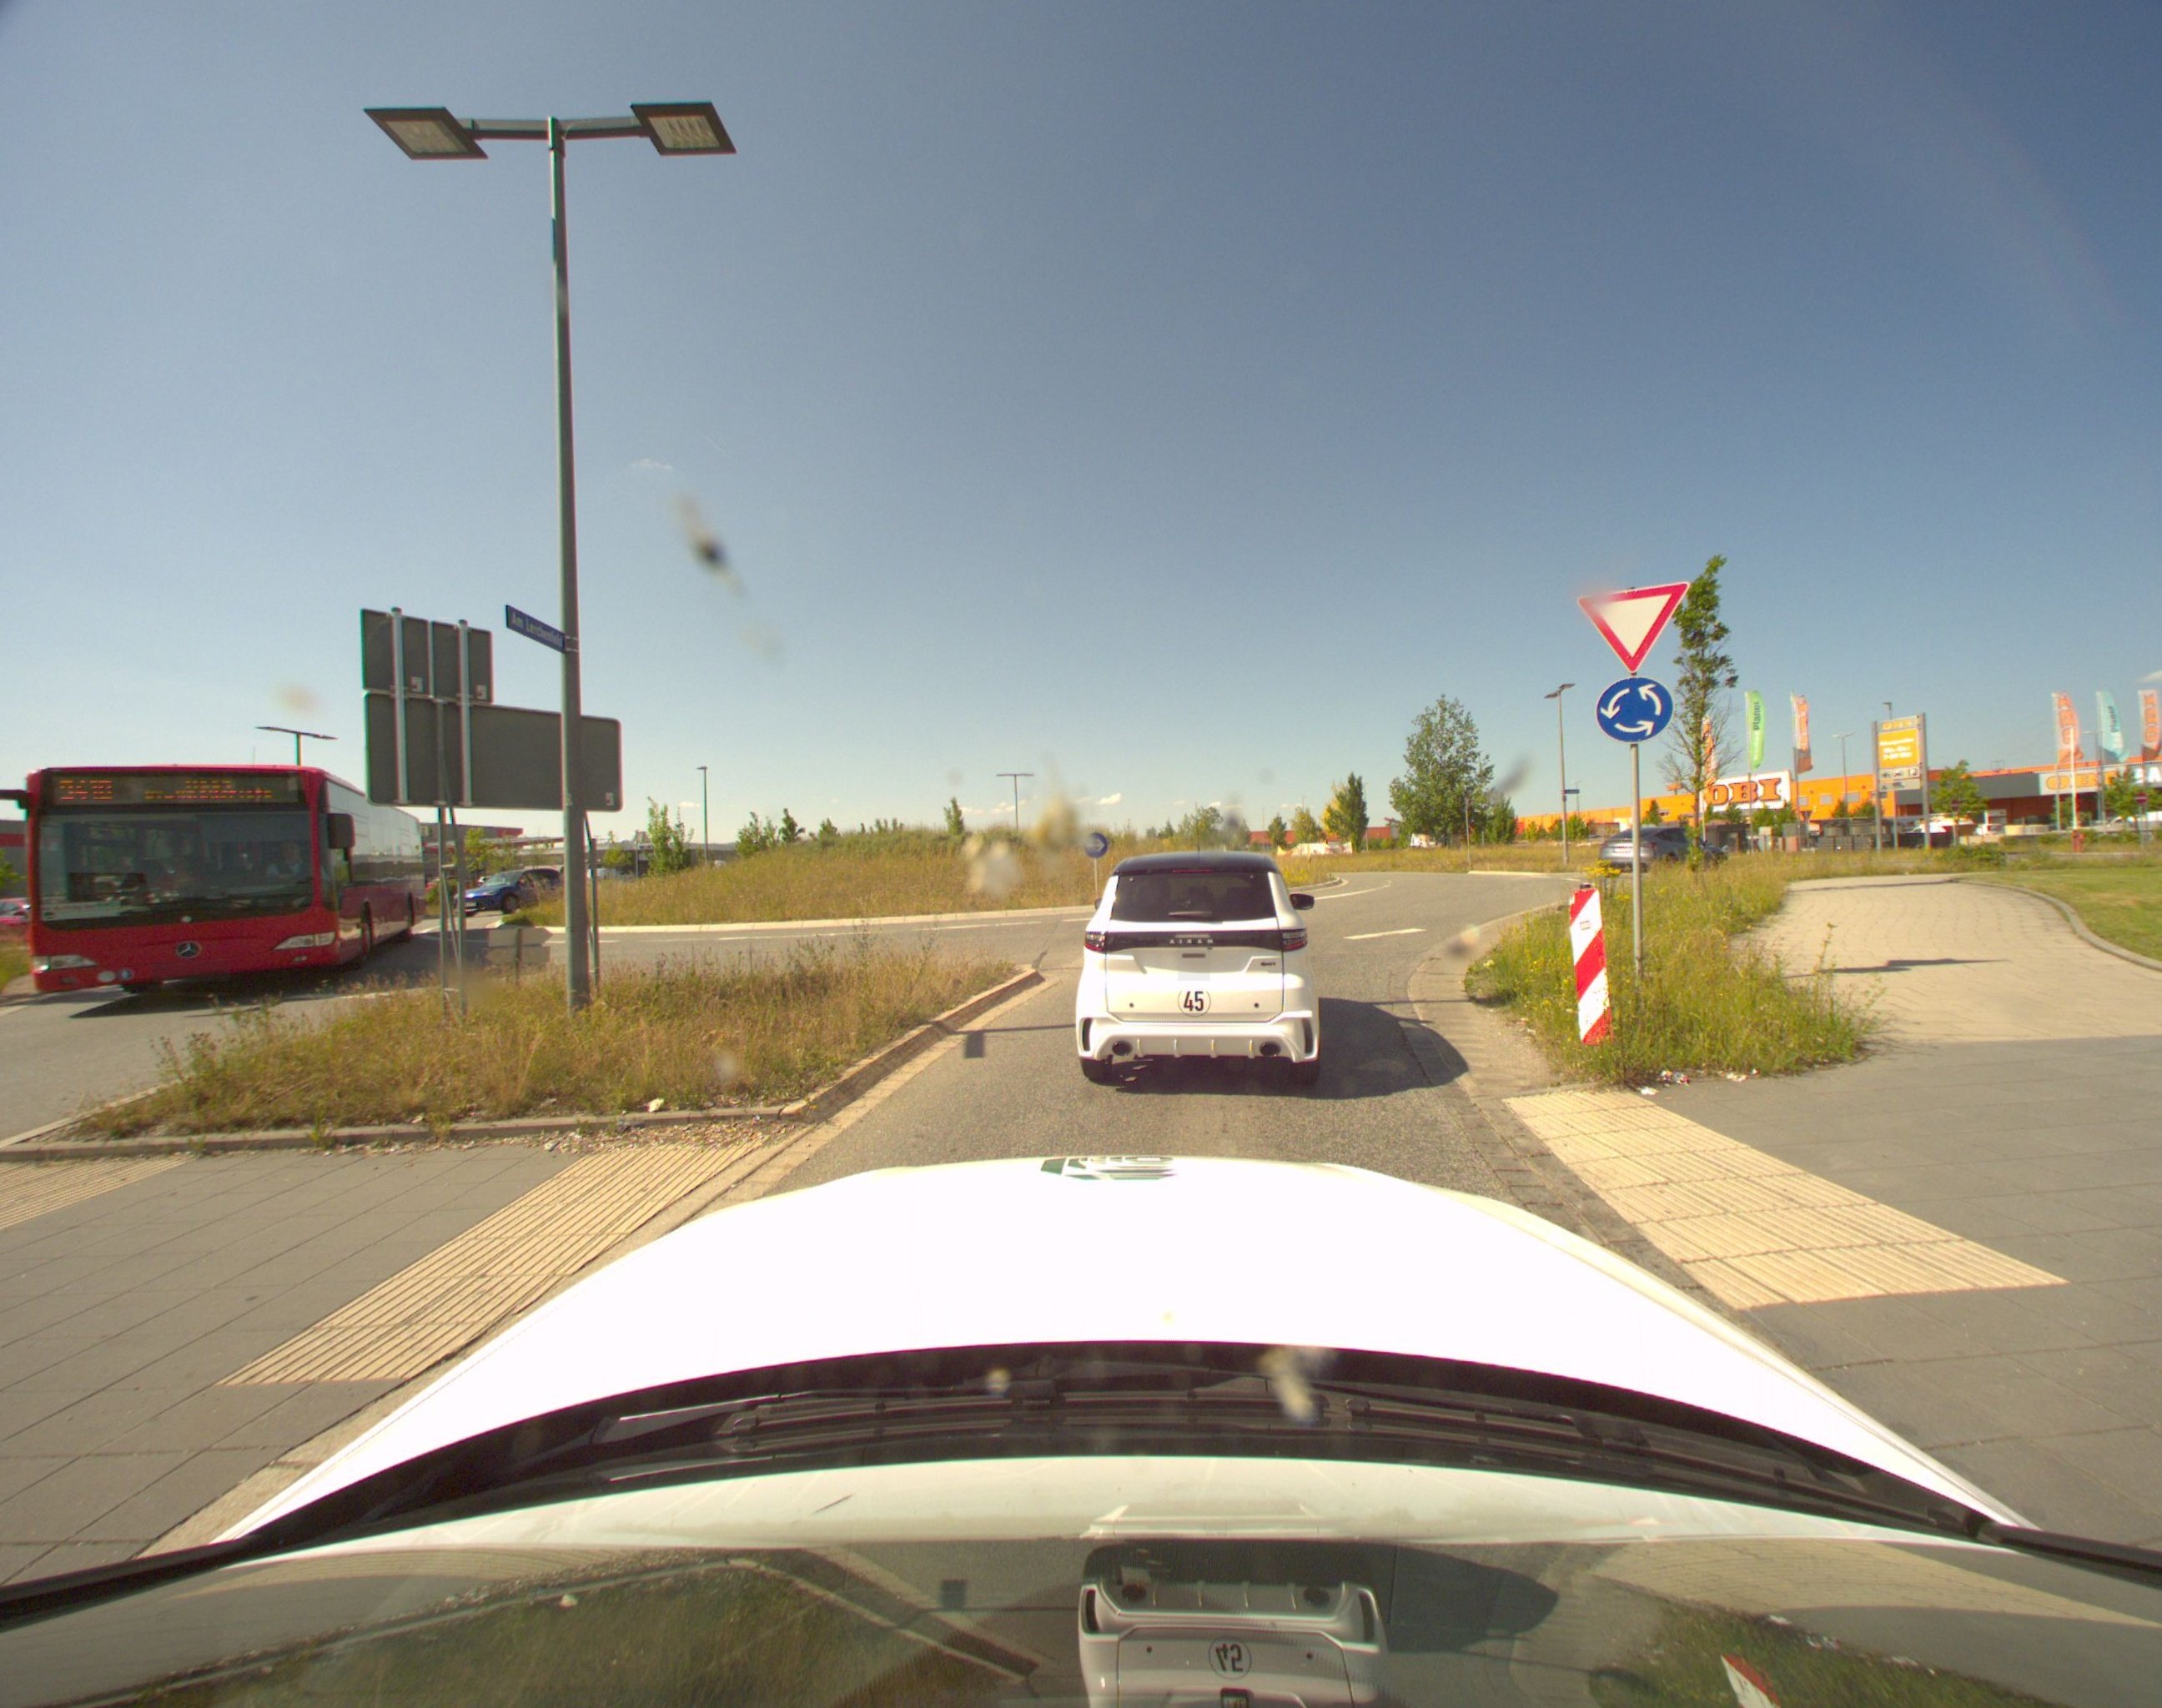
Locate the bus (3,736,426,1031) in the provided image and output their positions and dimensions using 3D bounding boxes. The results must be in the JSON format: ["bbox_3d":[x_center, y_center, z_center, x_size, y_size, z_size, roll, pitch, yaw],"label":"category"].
[{"bbox_3d":[-14.015,0.354,14.546,2.629,3.241,11.753,-4,1,-35],"label":"bus"}]

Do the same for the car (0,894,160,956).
[{"bbox_3d":[-27.918,1.924,22.039,4.084,1.416,1.811,-3,1,5],"label":"car"}]

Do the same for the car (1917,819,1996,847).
[{"bbox_3d":[58.983,-1.390,54.889,3.756,1.841,1.697,0,-1,-6],"label":"car"}]

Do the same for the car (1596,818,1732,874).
[{"bbox_3d":[18.358,-0.268,25.610,4.179,1.584,1.814,-2,0,-29],"label":"car"}]

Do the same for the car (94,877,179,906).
[{"bbox_3d":[-73.036,2.857,63.075,1.989,2.013,3.996,-2,0,-3],"label":"car"}]

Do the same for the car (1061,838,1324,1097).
[{"bbox_3d":[0.963,0.641,6.454,1.499,1.440,3.362,-1,2,11],"label":"car"}]

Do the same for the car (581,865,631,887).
[{"bbox_3d":[-46.335,2.151,79.550,1.988,2.014,5.132,-2,-1,-2],"label":"car"}]

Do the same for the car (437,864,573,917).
[{"bbox_3d":[-21.231,1.281,30.249,1.842,1.635,4.086,-3,1,5],"label":"car"}]

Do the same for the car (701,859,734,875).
[{"bbox_3d":[-42.035,1.454,94.361,1.987,1.732,3.999,-2,-1,0],"label":"car"}]
